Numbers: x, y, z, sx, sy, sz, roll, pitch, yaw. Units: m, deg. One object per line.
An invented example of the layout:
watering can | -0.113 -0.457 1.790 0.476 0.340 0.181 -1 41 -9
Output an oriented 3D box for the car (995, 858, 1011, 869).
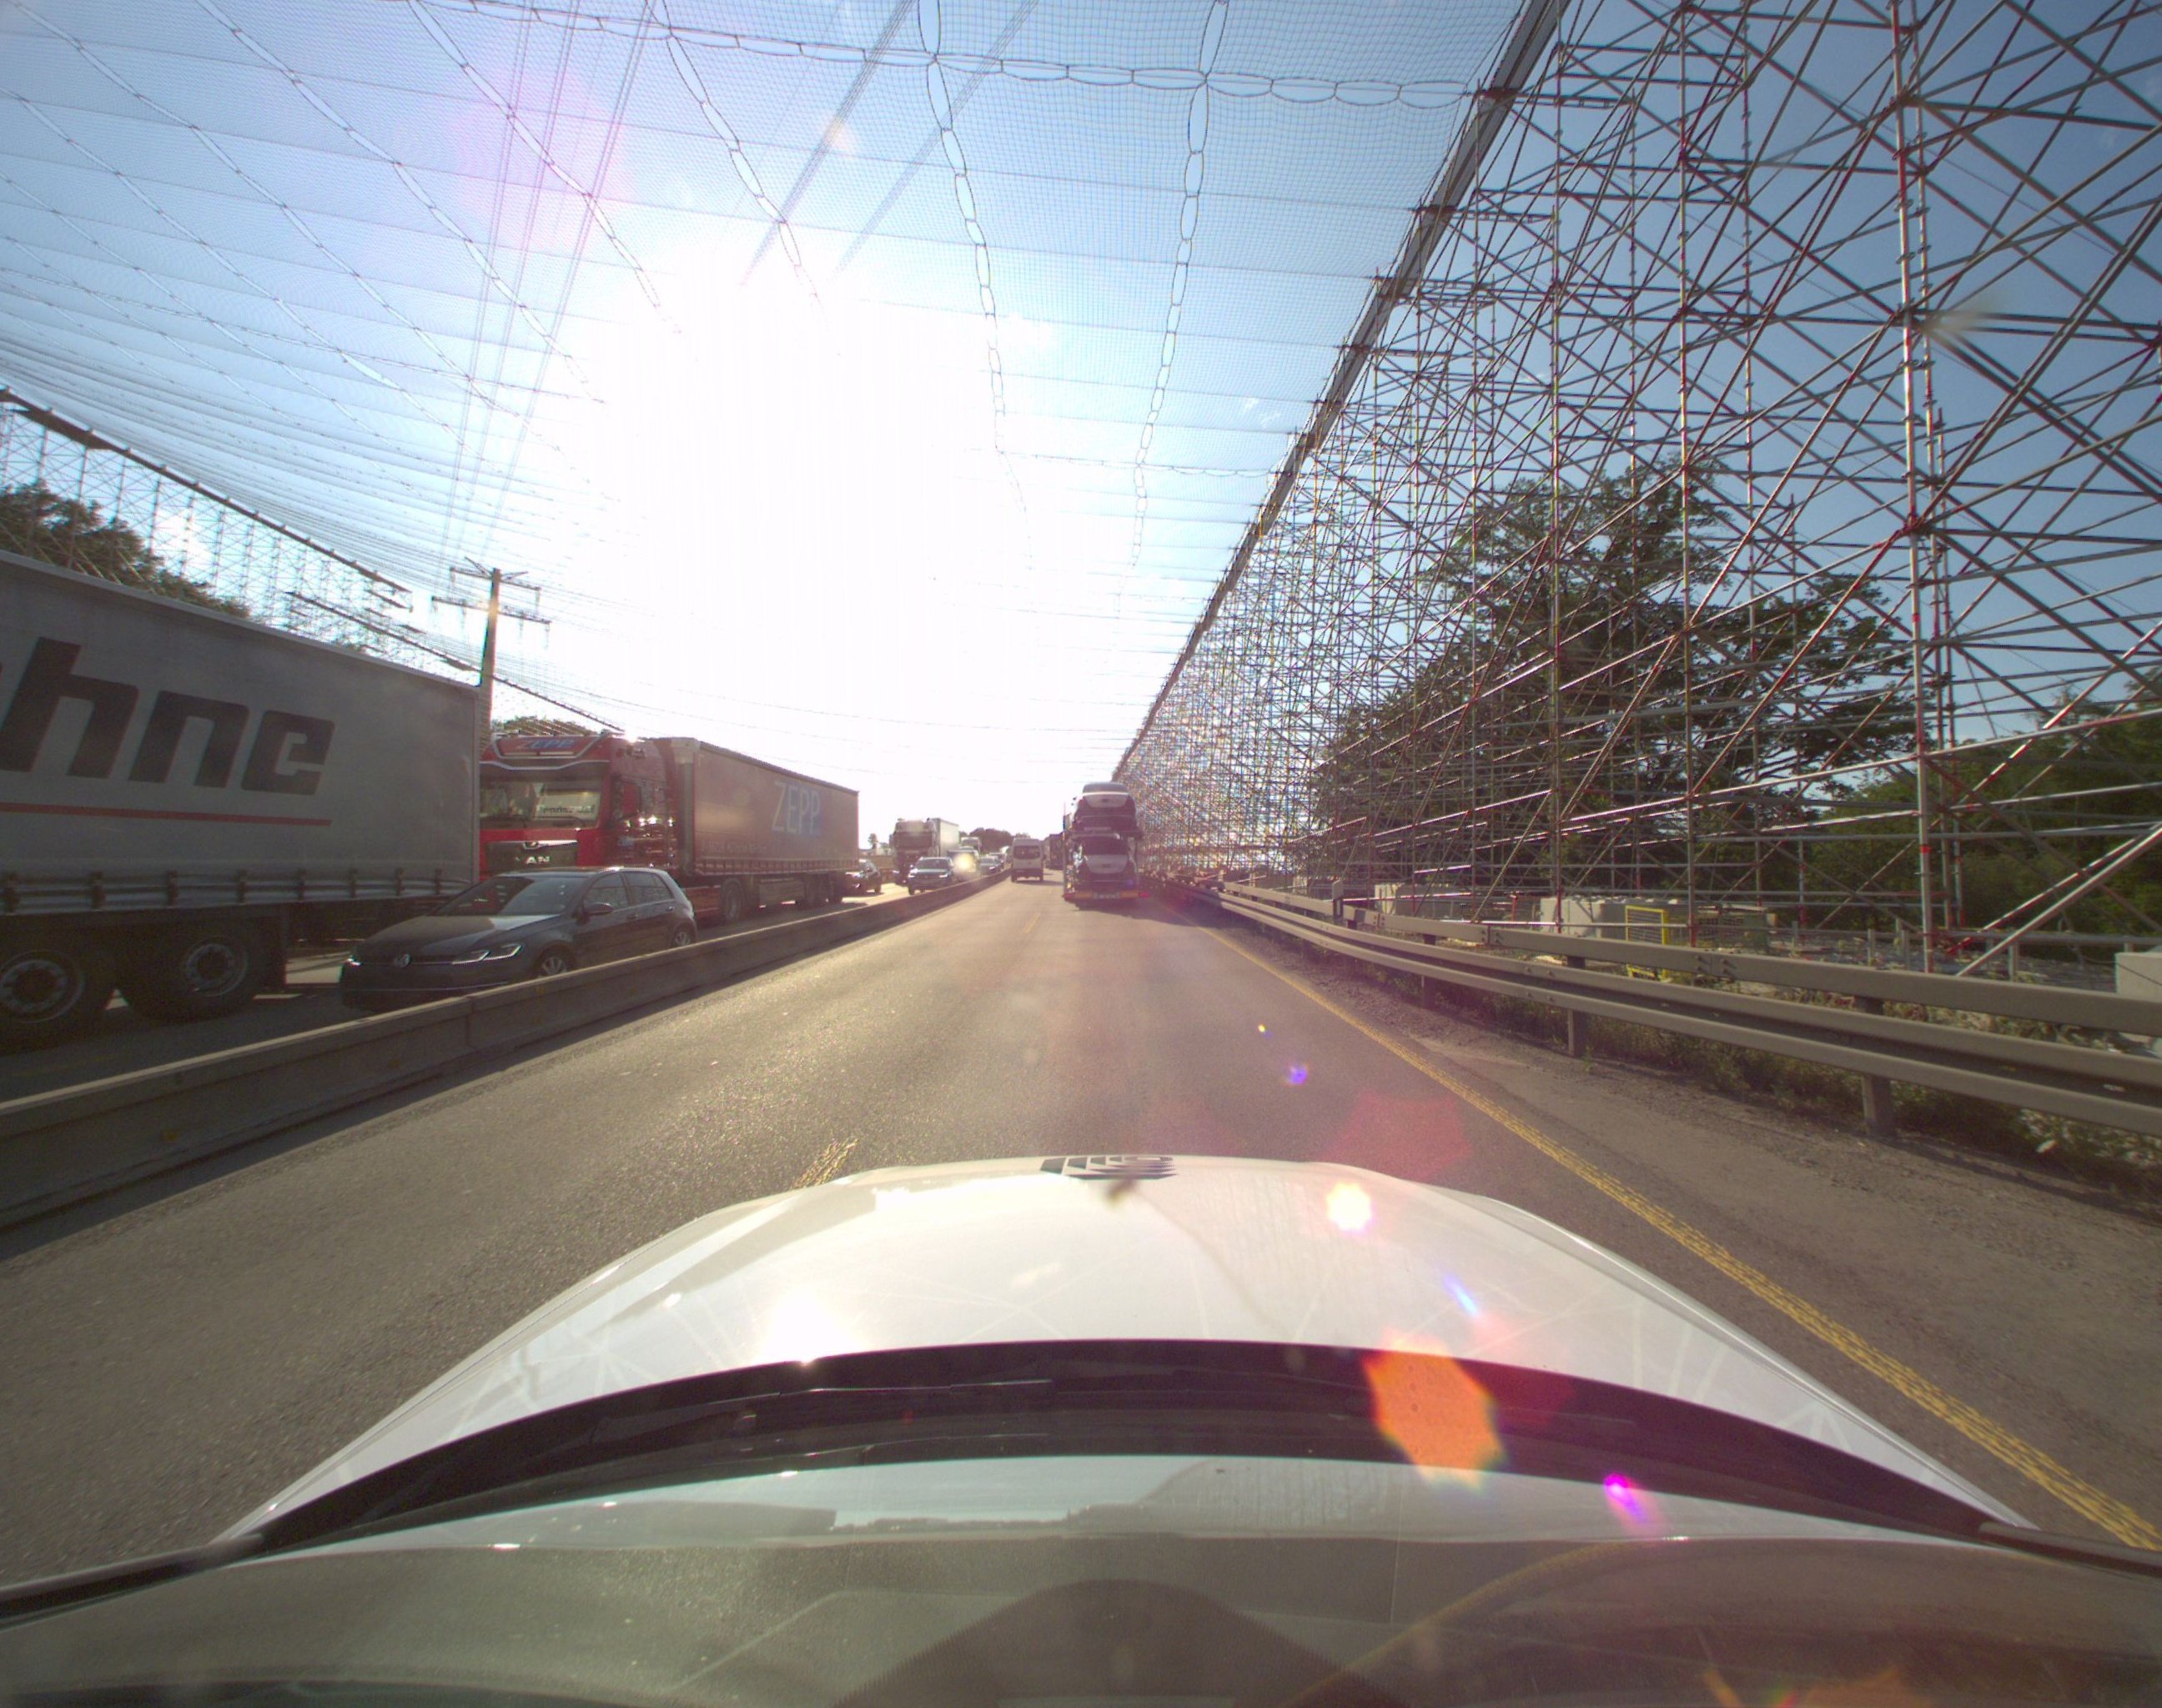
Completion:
car | -10.722 1.320 111.413 1.837 1.453 3.986 1 0 -10

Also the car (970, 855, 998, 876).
car | -7.327 0.820 61.823 1.780 1.502 4.750 1 0 -2

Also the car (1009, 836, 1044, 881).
car | -3.391 0.316 50.026 1.954 2.621 3.991 -1 -1 -6

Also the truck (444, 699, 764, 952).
truck | -9.182 -0.449 16.802 2.780 4.141 6.674 -1 -1 -2

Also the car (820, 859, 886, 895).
car | -9.801 0.944 35.314 1.716 1.447 4.136 0 0 -1

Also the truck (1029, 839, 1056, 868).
truck | -6.334 -0.086 131.812 3.681 4.220 13.642 -3 0 -5

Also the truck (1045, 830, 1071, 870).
truck | -2.794 -0.397 95.567 2.726 4.385 11.508 0 0 -3

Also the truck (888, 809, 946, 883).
truck | -9.964 -0.451 50.082 2.657 4.230 6.095 -1 0 -4

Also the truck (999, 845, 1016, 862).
truck | -16.632 -0.062 184.151 2.618 3.723 9.618 1 0 -12

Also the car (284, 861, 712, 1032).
car | -6.115 0.825 9.348 1.644 1.464 4.401 1 0 1

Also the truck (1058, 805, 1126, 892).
truck | 0.426 -0.196 38.614 2.873 3.702 7.321 -1 -1 -1

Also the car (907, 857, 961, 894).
car | -6.400 0.898 35.904 1.738 1.535 4.264 0 0 -2

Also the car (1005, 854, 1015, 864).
car | -12.216 0.896 139.974 1.708 1.618 3.497 -1 -1 -5

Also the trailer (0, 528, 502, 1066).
trailer | -9.749 -0.443 4.517 2.788 4.141 13.969 -1 -1 1

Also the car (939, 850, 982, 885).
car | -6.886 0.750 46.866 1.870 1.935 4.858 0 0 -2

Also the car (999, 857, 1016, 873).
car | -8.847 1.293 98.284 1.832 1.893 3.996 1 0 -3

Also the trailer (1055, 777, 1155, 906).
trailer | 0.594 -0.275 31.167 2.860 3.725 14.939 -1 -1 -1

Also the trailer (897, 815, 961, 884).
trailer | -10.380 -0.233 57.147 2.648 4.233 13.902 1 0 -3

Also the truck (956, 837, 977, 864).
truck | -15.223 -0.442 109.126 2.593 3.473 12.359 1 0 -8

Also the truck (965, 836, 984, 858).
truck | -17.207 -1.078 131.126 2.594 3.473 12.351 1 0 -9

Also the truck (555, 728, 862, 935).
truck | -9.360 -0.384 23.301 2.780 4.141 13.797 -1 -1 -2

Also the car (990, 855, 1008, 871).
car | -8.685 0.966 86.479 1.691 1.629 3.996 1 0 -2
